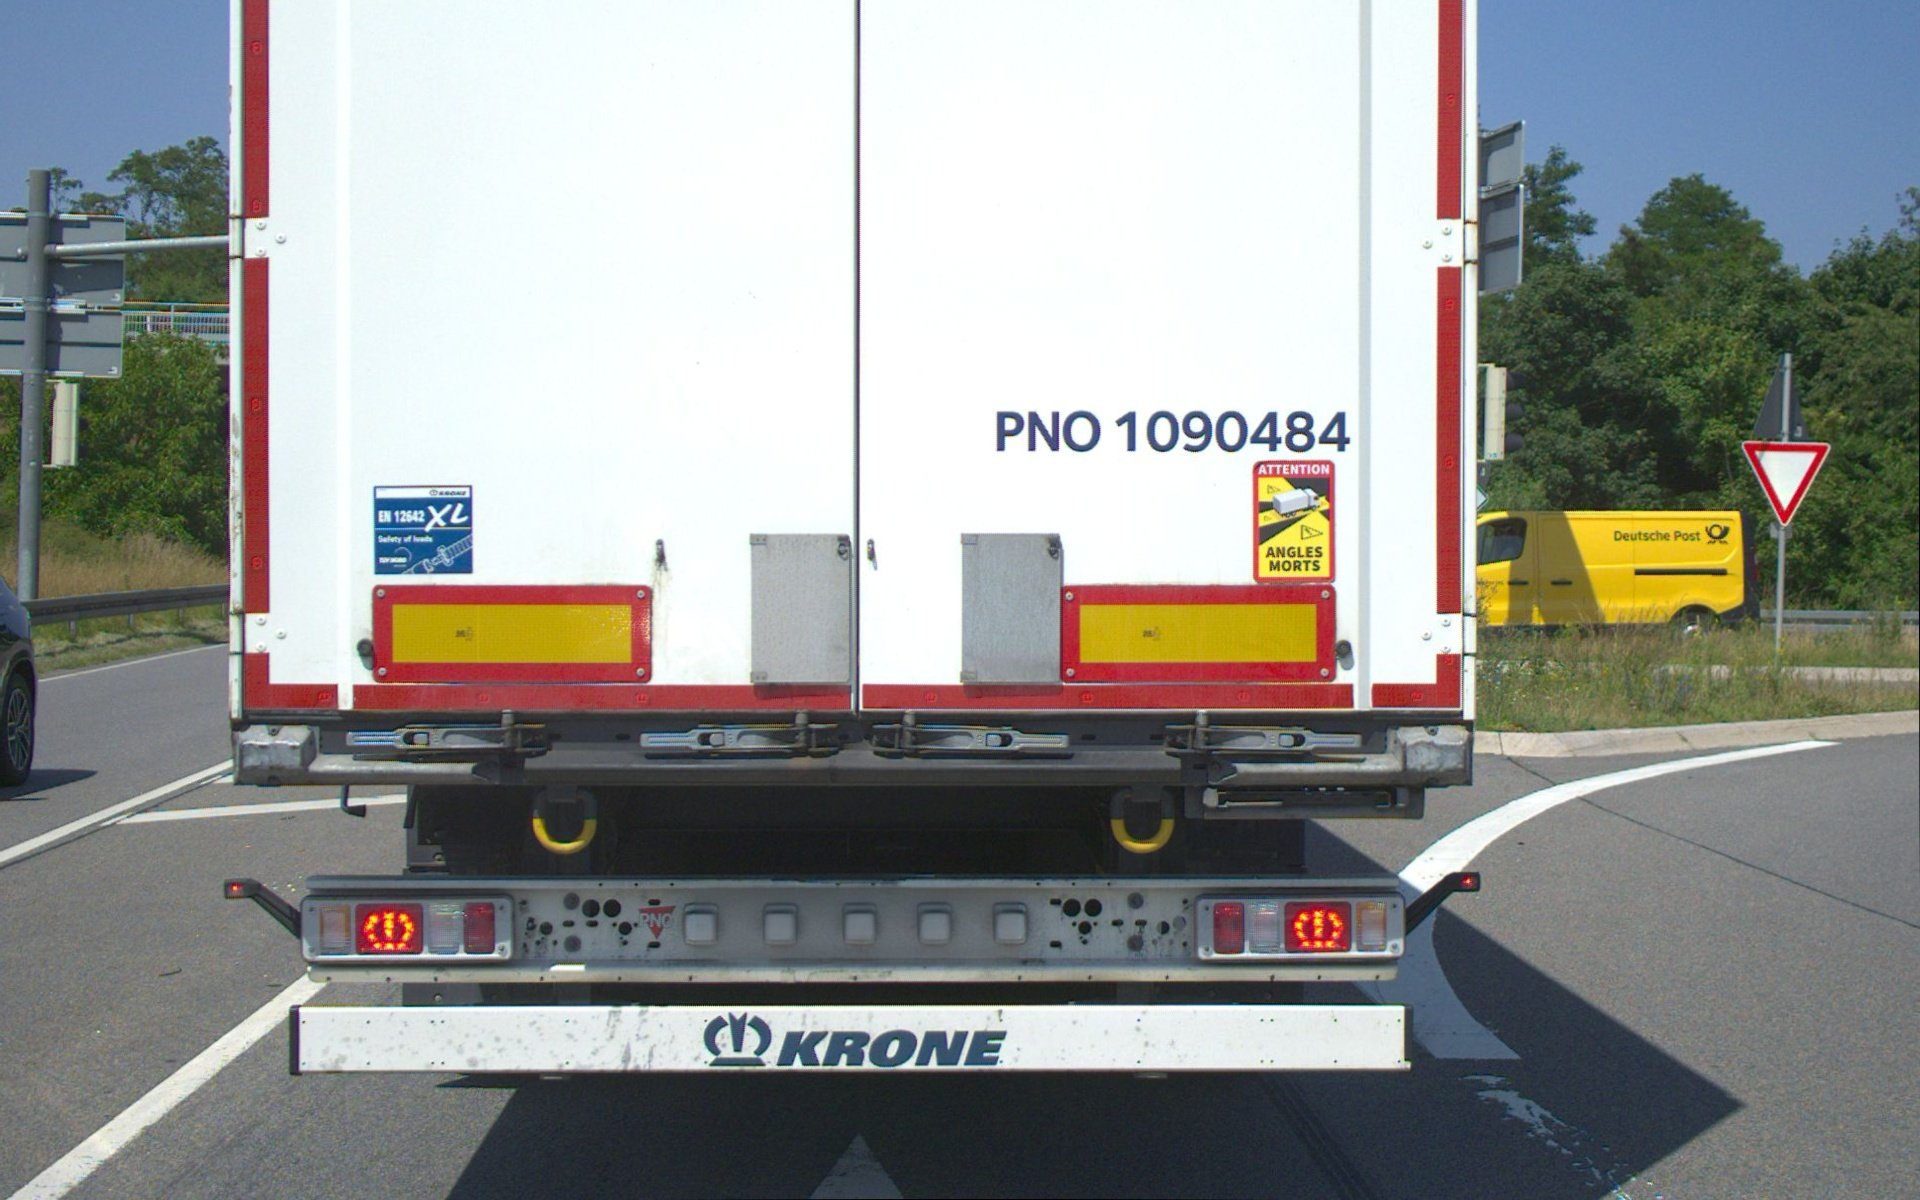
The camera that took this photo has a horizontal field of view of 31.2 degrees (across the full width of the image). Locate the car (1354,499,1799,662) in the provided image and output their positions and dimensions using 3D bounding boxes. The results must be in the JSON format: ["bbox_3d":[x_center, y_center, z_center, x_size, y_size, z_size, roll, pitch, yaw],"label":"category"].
[{"bbox_3d":[7.910,-0.253,44.411,5.322,2.007,2.000,1,0,-3],"label":"car"}]

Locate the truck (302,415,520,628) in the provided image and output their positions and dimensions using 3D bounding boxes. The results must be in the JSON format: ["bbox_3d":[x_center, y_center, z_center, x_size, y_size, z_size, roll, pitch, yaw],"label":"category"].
[{"bbox_3d":[-9.624,-1.335,61.042,2.644,3.526,7.890,1,0,-1],"label":"truck"}]

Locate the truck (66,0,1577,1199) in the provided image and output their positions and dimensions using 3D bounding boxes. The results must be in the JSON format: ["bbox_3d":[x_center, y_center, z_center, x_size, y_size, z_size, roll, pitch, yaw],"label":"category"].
[{"bbox_3d":[-0.372,-0.658,11.781,2.987,3.928,9.876,1,1,-1],"label":"truck"}]

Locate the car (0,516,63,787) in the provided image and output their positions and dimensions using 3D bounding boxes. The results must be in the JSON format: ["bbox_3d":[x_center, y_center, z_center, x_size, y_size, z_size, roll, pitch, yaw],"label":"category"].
[{"bbox_3d":[-6.510,0.314,19.401,1.762,1.592,4.501,0,1,-1],"label":"car"}]
